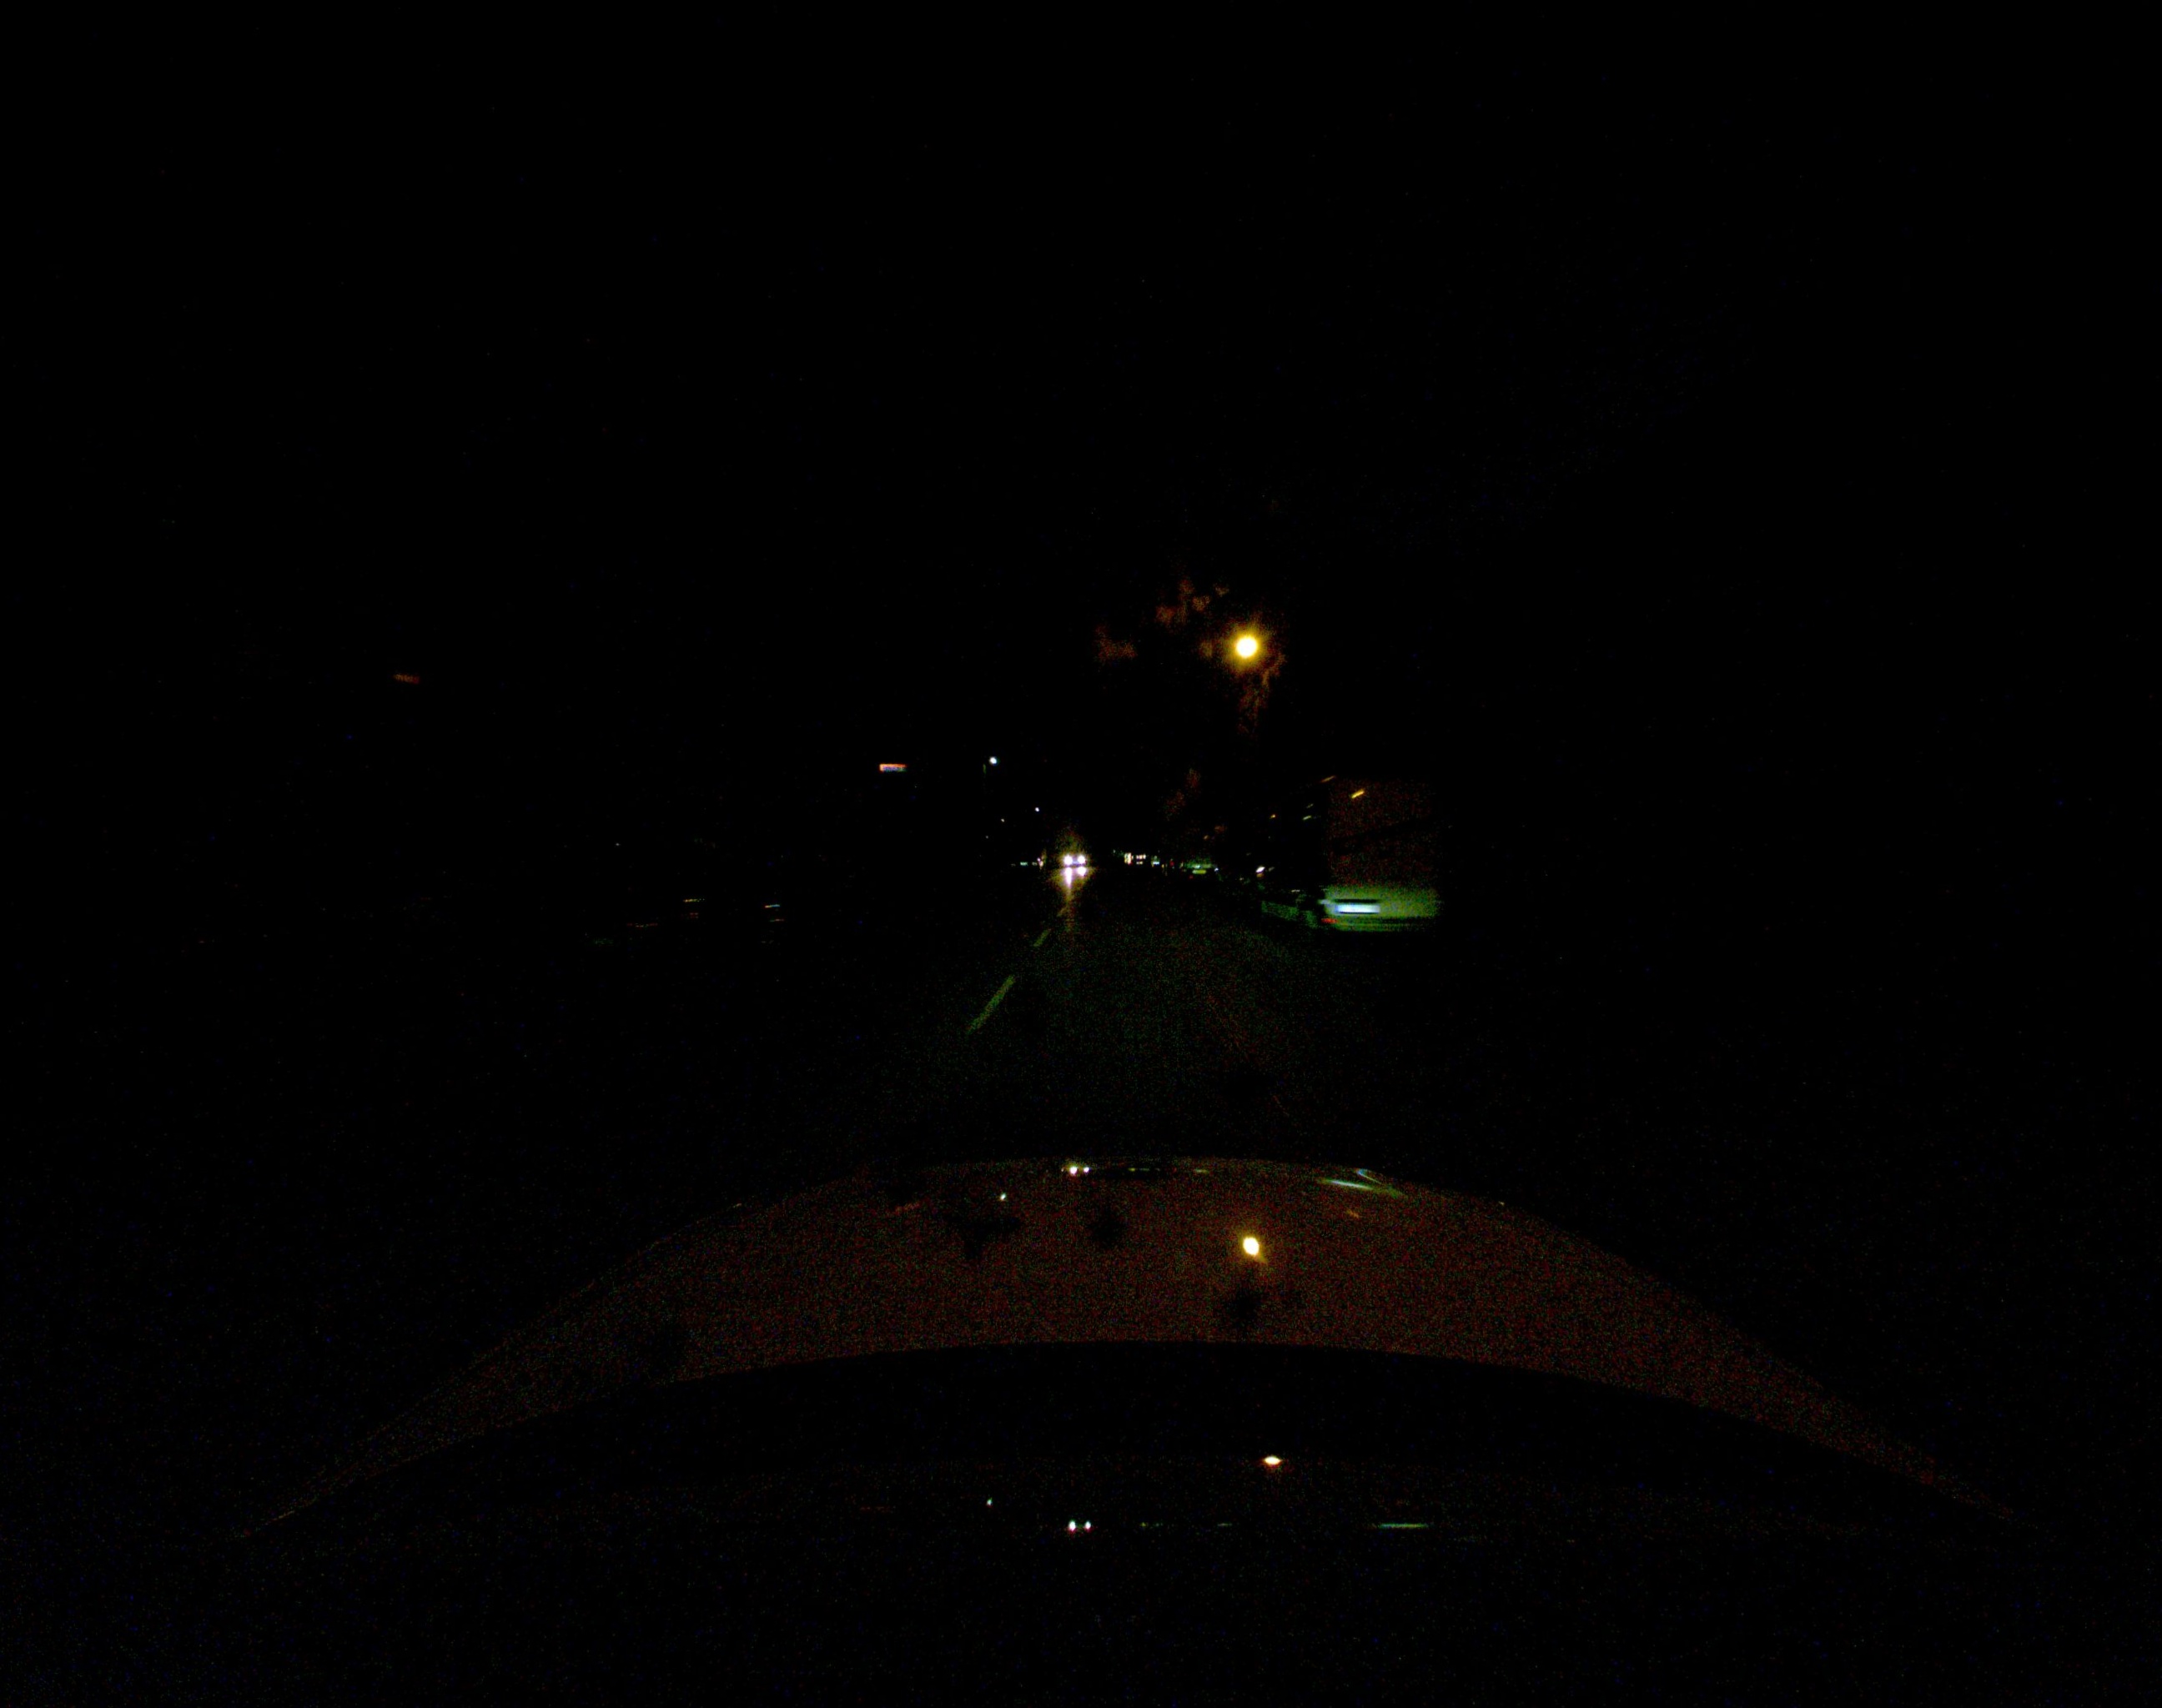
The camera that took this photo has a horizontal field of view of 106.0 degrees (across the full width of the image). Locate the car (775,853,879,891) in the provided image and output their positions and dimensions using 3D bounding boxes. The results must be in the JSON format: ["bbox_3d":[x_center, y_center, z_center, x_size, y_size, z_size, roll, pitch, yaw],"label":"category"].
[{"bbox_3d":[-11.492,0.789,36.894,4.094,1.432,1.906,3,1,20],"label":"car"}]

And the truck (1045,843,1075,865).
[{"bbox_3d":[-3.801,-0.030,147.145,2.764,3.783,9.078,-1,0,-19],"label":"truck"}]

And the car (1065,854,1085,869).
[{"bbox_3d":[-0.600,0.721,81.921,1.851,1.420,4.001,-1,0,1],"label":"car"}]

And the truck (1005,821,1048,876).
[{"bbox_3d":[-4.265,-0.383,65.285,2.737,4.034,9.558,-1,0,0],"label":"truck"}]

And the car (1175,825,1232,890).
[{"bbox_3d":[5.238,0.126,35.569,1.984,2.526,5.916,2,0,4],"label":"car"}]

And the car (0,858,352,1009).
[{"bbox_3d":[-11.849,0.869,9.443,4.682,1.551,1.982,-1,0,-27],"label":"car"}]

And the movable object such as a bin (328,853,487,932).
[{"bbox_3d":[-13.563,0.747,16.492,1.850,1.500,1.610,-1,0,2],"label":"movable object such as a bin"}]

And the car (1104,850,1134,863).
[{"bbox_3d":[6.090,0.395,130.011,4.341,1.646,1.879,-4,1,-20],"label":"car"}]

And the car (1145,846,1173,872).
[{"bbox_3d":[6.406,0.377,67.452,1.986,2.013,4.914,-2,0,2],"label":"car"}]

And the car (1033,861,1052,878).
[{"bbox_3d":[-3.969,1.568,84.147,1.939,1.717,5.193,-1,0,-2],"label":"car"}]

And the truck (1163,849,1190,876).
[{"bbox_3d":[6.257,0.547,53.476,1.365,1.644,3.813,-1,0,1],"label":"truck"}]

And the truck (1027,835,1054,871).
[{"bbox_3d":[-4.965,-0.085,98.814,2.768,4.120,9.323,-1,0,-5],"label":"truck"}]

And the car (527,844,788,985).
[{"bbox_3d":[-6.441,0.815,13.062,1.807,1.849,4.415,-1,0,1],"label":"car"}]

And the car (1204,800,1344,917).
[{"bbox_3d":[4.807,0.087,21.340,2.122,2.571,5.907,2,0,-1],"label":"car"}]

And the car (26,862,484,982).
[{"bbox_3d":[-11.791,0.883,12.124,4.425,1.440,1.777,-1,0,-27],"label":"car"}]

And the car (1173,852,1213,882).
[{"bbox_3d":[5.706,0.646,42.053,1.761,1.412,4.555,-1,0,4],"label":"car"}]

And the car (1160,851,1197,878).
[{"bbox_3d":[5.732,0.594,48.279,1.937,1.489,5.016,-1,0,4],"label":"car"}]

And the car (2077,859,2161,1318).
[{"bbox_3d":[4.180,0.753,0.258,1.823,1.407,4.910,2,0,2],"label":"car"}]

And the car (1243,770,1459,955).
[{"bbox_3d":[4.436,0.119,14.580,1.986,2.571,6.016,2,0,2],"label":"car"}]
